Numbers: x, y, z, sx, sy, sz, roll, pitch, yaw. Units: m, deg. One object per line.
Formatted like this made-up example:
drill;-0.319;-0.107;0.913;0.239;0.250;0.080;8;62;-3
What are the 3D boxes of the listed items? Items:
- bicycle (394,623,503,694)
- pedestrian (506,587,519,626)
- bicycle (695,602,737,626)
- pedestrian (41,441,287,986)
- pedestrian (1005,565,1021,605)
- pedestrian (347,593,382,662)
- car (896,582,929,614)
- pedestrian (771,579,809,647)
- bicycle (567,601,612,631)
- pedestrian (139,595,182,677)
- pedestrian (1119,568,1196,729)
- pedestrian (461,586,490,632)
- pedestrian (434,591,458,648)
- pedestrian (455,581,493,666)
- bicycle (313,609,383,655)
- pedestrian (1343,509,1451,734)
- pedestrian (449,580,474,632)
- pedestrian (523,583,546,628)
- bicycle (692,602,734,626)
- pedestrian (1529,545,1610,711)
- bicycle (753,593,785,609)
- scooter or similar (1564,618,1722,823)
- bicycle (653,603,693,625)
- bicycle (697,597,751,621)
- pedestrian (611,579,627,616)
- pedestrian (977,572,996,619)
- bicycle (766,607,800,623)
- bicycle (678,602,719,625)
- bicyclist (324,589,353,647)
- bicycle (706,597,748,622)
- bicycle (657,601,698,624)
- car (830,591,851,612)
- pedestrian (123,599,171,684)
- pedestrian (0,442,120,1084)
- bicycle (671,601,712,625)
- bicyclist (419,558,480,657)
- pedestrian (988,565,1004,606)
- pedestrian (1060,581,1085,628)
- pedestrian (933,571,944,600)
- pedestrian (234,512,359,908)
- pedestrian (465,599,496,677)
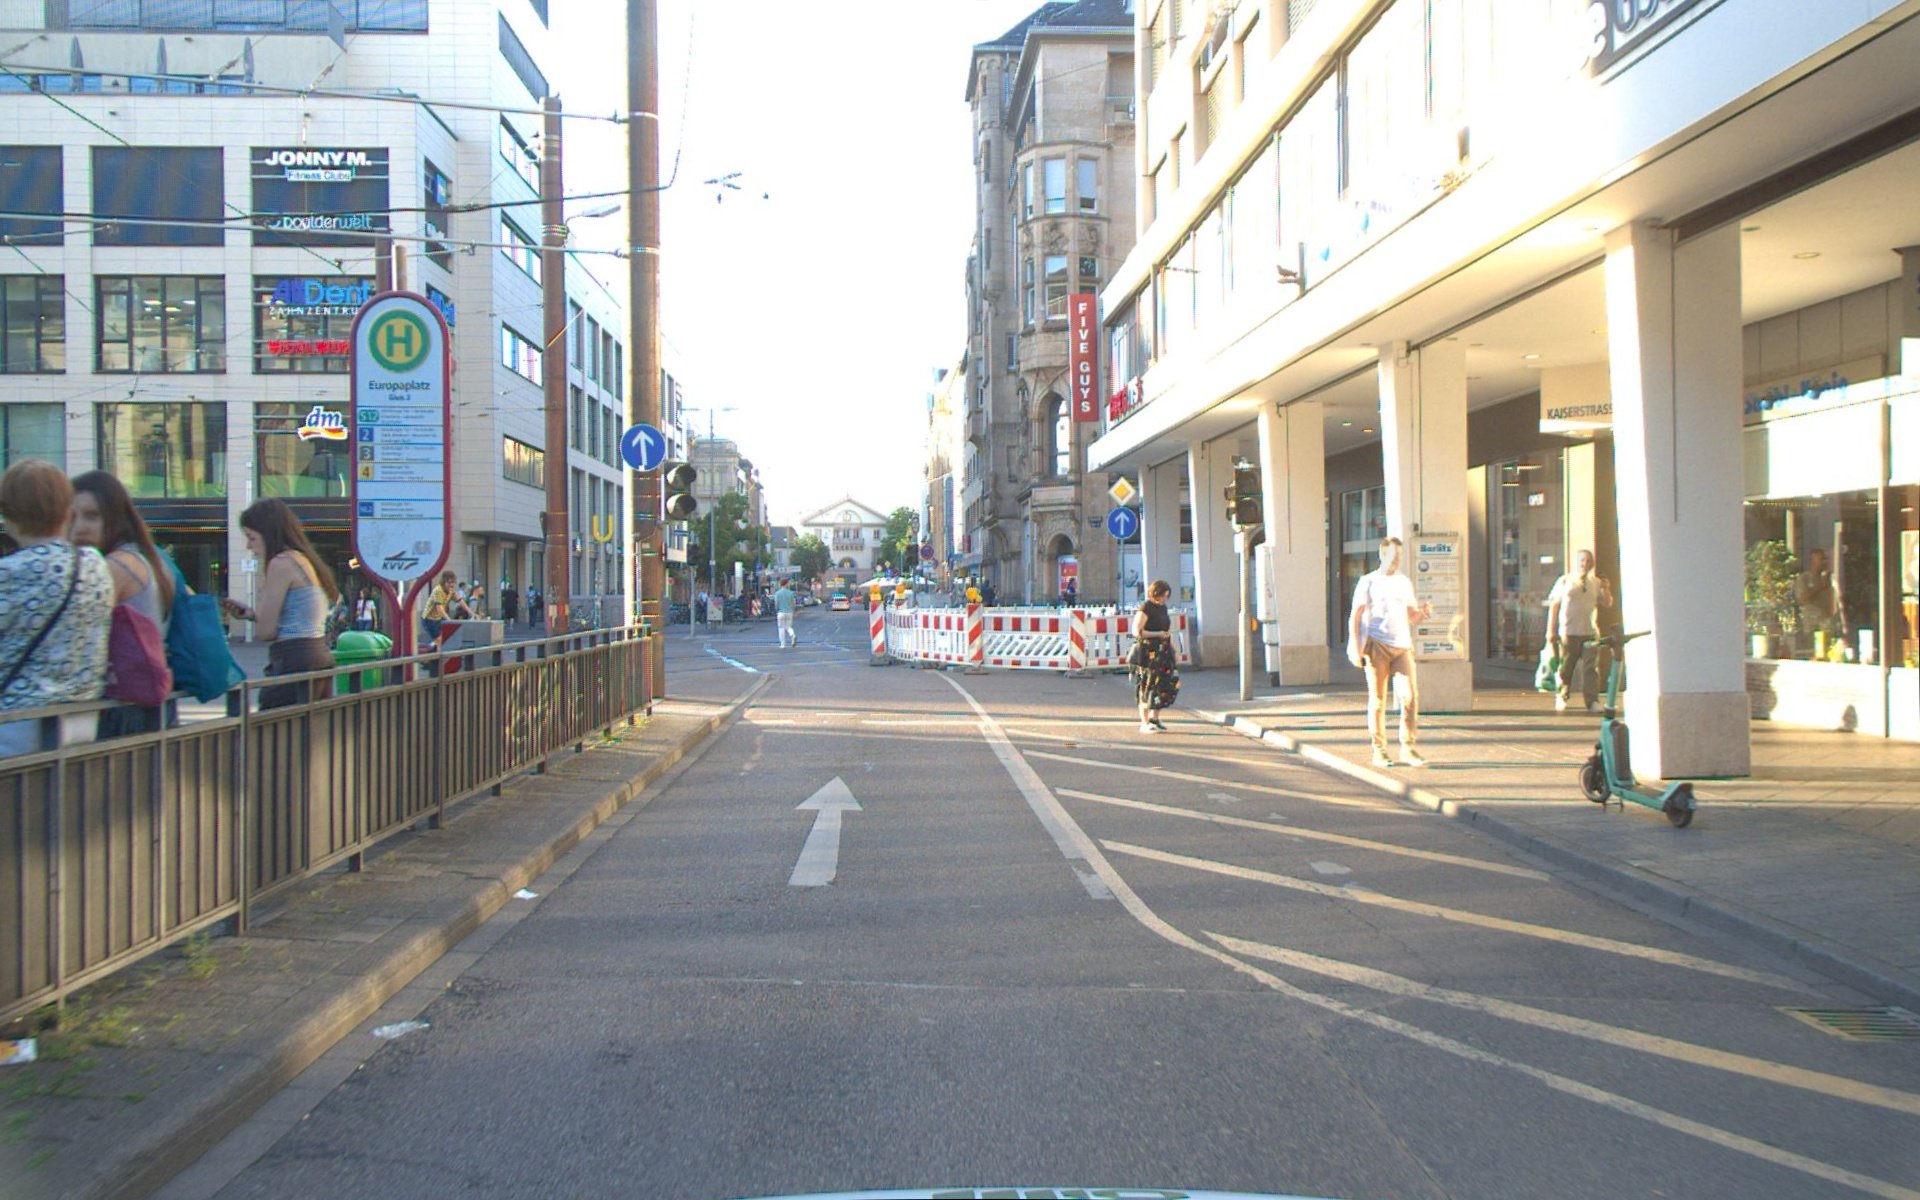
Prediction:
bicycle;-8.503;0.966;27.517;1.585;1.123;0.630;-1;-1;9
pedestrian;-17.681;0.252;65.363;0.382;1.541;0.505;0;0;-4
bicycle;-11.808;0.672;79.938;1.948;1.141;0.552;1;0;-33
pedestrian;-2.760;0.374;5.780;0.528;1.798;0.594;1;0;2
pedestrian;2.277;-0.663;71.424;0.613;1.719;0.625;-1;0;-5
pedestrian;-14.959;0.683;41.560;0.635;1.703;0.530;-1;0;5
car;-2.865;-0.111;99.076;1.763;1.799;4.395;-2;0;-3
pedestrian;-4.587;0.352;44.638;0.847;1.792;0.768;1;-1;9
bicycle;-14.467;0.630;64.629;1.661;1.141;0.451;1;0;-1
pedestrian;-16.325;0.722;33.760;0.761;1.642;0.661;-1;0;-28
pedestrian;2.148;0.524;18.033;0.686;1.723;0.540;1;0;-10
pedestrian;-18.062;0.346;61.674;0.750;1.688;0.817;1;0;11
pedestrian;-15.605;0.590;50.239;0.518;1.703;0.650;-1;0;-2
pedestrian;-9.980;0.474;33.966;0.732;1.730;0.607;0;0;-17
bicycle;-15.616;0.803;42.260;0.561;1.117;2.023;1;0;16
pedestrian;3.707;0.178;14.088;0.685;1.847;0.852;1;0;1
pedestrian;-18.322;0.222;60.776;0.560;1.887;0.817;1;0;9
pedestrian;-16.978;0.203;65.980;0.767;1.782;0.599;1;0;-6
bicycle;-12.039;0.671;80.643;1.948;1.141;0.552;1;0;-33
pedestrian;6.948;0.314;18.868;0.685;1.847;0.631;1;0;1
bicycle;-12.653;0.078;109.605;2.104;1.047;0.640;-1;0;-2
scooter or similar;4.482;0.758;10.922;0.495;1.256;1.179;0;0;-3
bicycle;-14.609;0.716;84.167;1.948;1.141;0.552;1;0;-33
bicycle;-12.815;0.480;89.841;2.856;1.277;0.796;-1;0;-30
pedestrian;-15.617;-0.113;75.741;0.667;1.710;0.599;1;0;-6
pedestrian;0.975;-0.177;61.047;0.613;1.719;0.670;-1;0;-5
bicycle;-11.498;0.972;107.471;2.104;1.047;0.640;-1;0;-2
bicycle;-12.875;0.661;81.448;1.948;1.141;0.552;1;0;-33
bicyclist;-15.745;0.455;41.878;0.412;1.452;0.564;1;0;17
bicycle;-11.164;0.459;79.227;1.948;1.141;0.552;1;0;-33
bicycle;-14.210;0.647;83.243;1.948;1.141;0.552;1;0;-33
car;-11.211;0.140;155.282;1.954;1.937;3.997;1;0;-3
pedestrian;-16.046;0.798;32.638;0.812;1.642;0.687;-1;0;-28
pedestrian;-2.830;0.461;4.970;0.335;1.827;0.544;1;0;-5
bicycle;-13.305;0.657;82.064;1.948;1.141;0.552;1;0;-33
bicyclist;-8.494;0.121;27.531;0.772;1.621;0.611;-1;0;8
pedestrian;1.537;-0.627;71.256;0.613;1.719;0.670;-1;0;-5
pedestrian;4.024;0.160;59.173;0.803;1.639;0.713;1;0;-4
pedestrian;-1.318;-0.890;101.670;0.631;1.719;0.670;-1;0;-5
pedestrian;-2.901;0.466;7.255;0.350;1.670;0.502;1;0;-5
pedestrian;-10.041;0.793;34.639;0.562;1.621;0.444;0;0;-26
